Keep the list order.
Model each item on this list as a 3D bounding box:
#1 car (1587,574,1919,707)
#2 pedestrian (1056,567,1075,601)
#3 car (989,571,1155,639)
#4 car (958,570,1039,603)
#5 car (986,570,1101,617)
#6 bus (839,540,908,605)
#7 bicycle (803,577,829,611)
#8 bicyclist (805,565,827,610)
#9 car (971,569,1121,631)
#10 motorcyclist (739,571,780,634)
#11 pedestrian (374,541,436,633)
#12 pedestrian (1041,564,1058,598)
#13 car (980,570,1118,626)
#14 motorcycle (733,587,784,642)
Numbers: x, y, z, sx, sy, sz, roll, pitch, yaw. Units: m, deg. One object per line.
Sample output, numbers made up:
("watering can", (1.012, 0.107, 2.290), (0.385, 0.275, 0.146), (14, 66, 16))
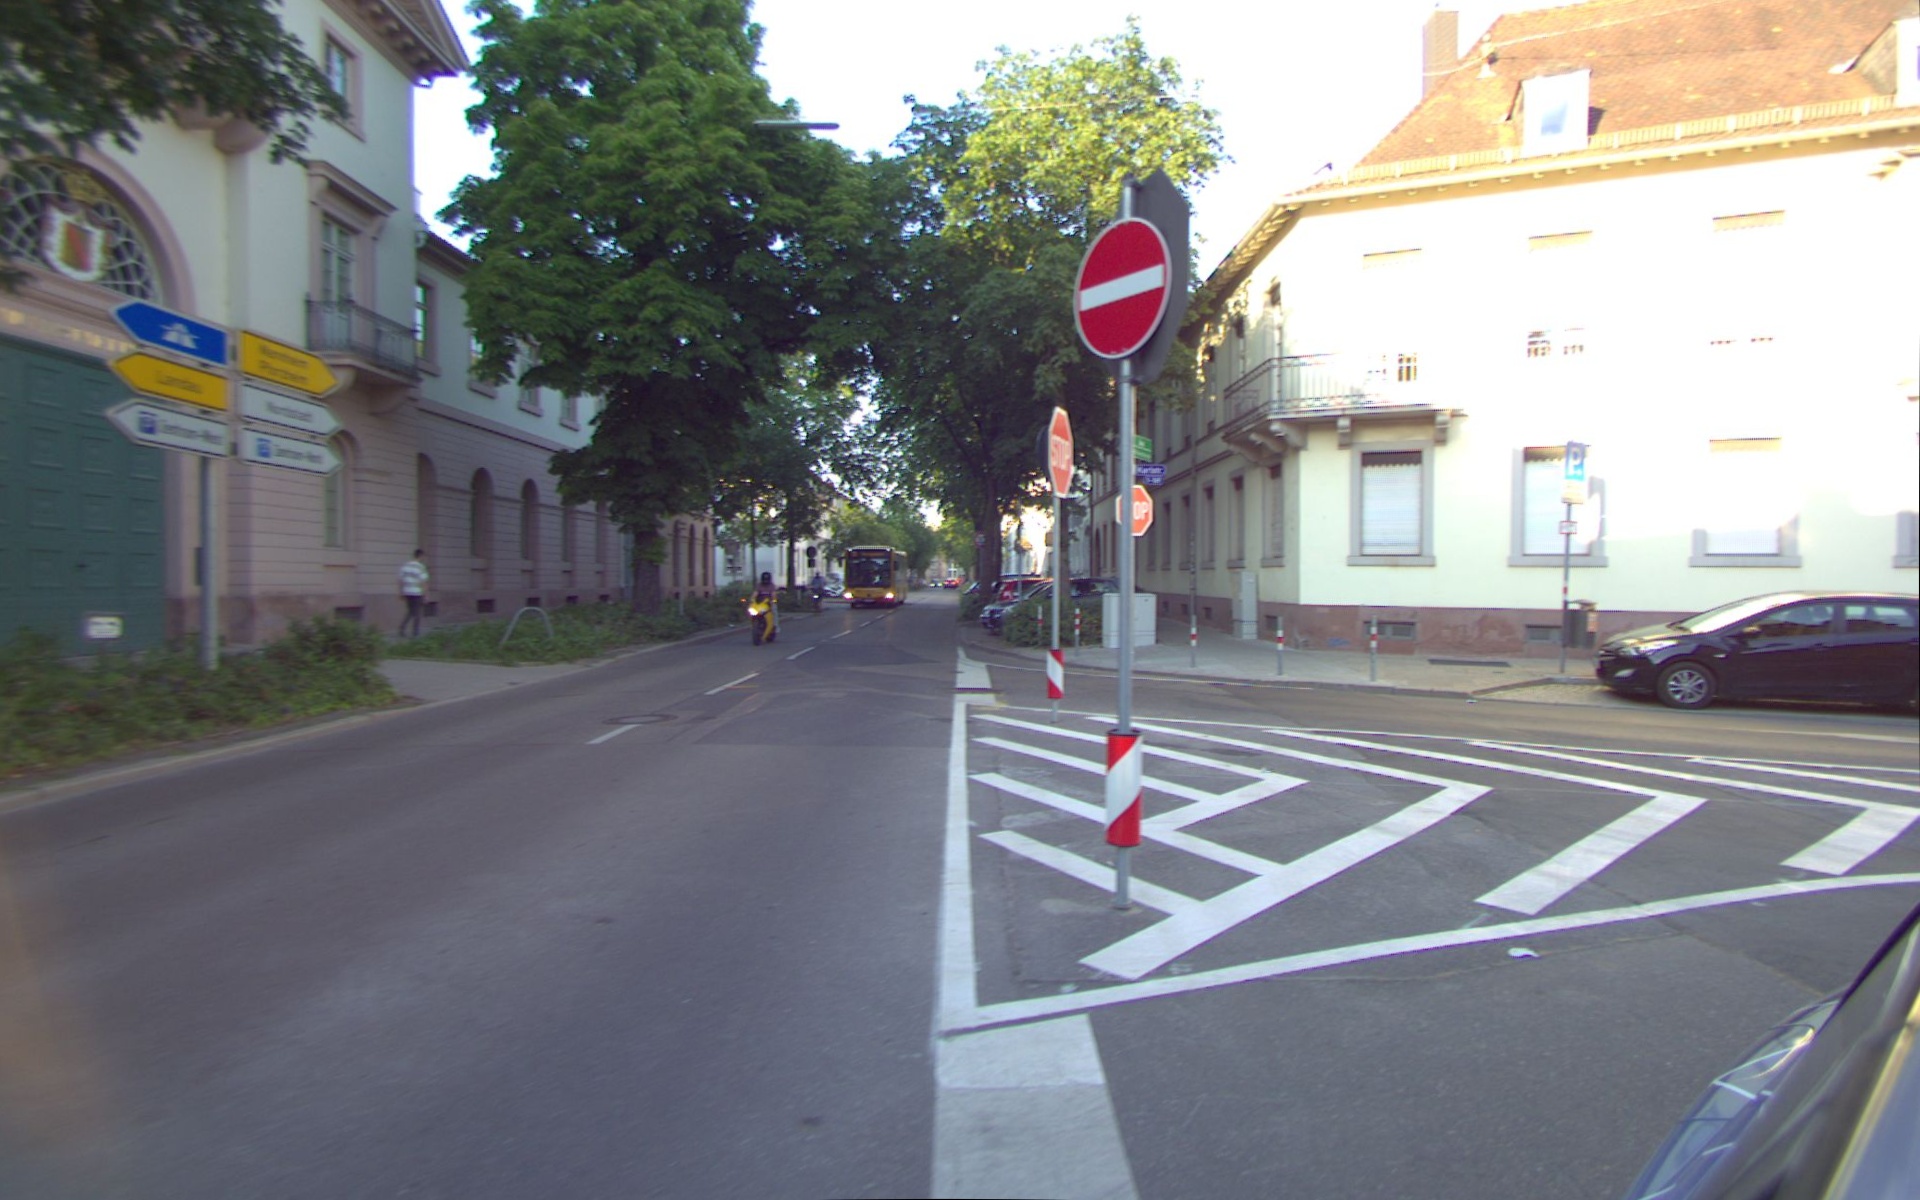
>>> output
("car", (10.913, 0.469, 13.211), (4.381, 1.561, 1.793), (1, 1, 23))
("pedestrian", (5.664, -0.850, 54.467), (0.878, 1.793, 1.022), (0, 1, -1))
("car", (2.747, 0.096, 25.487), (3.922, 1.635, 1.830), (0, 1, -2))
("car", (1.888, -0.676, 50.336), (3.922, 1.635, 1.724), (0, 1, -1))
("car", (2.933, -0.257, 36.291), (3.922, 1.635, 1.724), (0, 1, -1))
("bus", (-4.499, -1.491, 54.805), (2.662, 3.037, 12.084), (-2, 1, 0))
("bicycle", (-6.011, -0.262, 42.388), (0.769, 1.346, 2.078), (-2, 1, 0))
("bicyclist", (-6.016, -0.519, 42.306), (0.769, 1.862, 0.827), (-2, 1, 0))
("car", (2.302, -0.027, 27.892), (3.922, 1.635, 1.724), (0, 1, -1))
("motorcyclist", (-4.683, 0.038, 23.698), (0.778, 1.438, 0.699), (-1, 1, 1))
("pedestrian", (-11.416, -0.266, 20.848), (0.785, 1.855, 0.930), (0, 1, -2))
("pedestrian", (4.823, -1.014, 54.451), (0.791, 1.793, 1.022), (0, 1, -1))
("car", (2.611, -0.082, 30.321), (3.922, 1.635, 1.724), (0, 1, -1))
("motorcycle", (-4.681, 0.310, 23.643), (0.778, 1.175, 1.967), (-1, 1, 0))
